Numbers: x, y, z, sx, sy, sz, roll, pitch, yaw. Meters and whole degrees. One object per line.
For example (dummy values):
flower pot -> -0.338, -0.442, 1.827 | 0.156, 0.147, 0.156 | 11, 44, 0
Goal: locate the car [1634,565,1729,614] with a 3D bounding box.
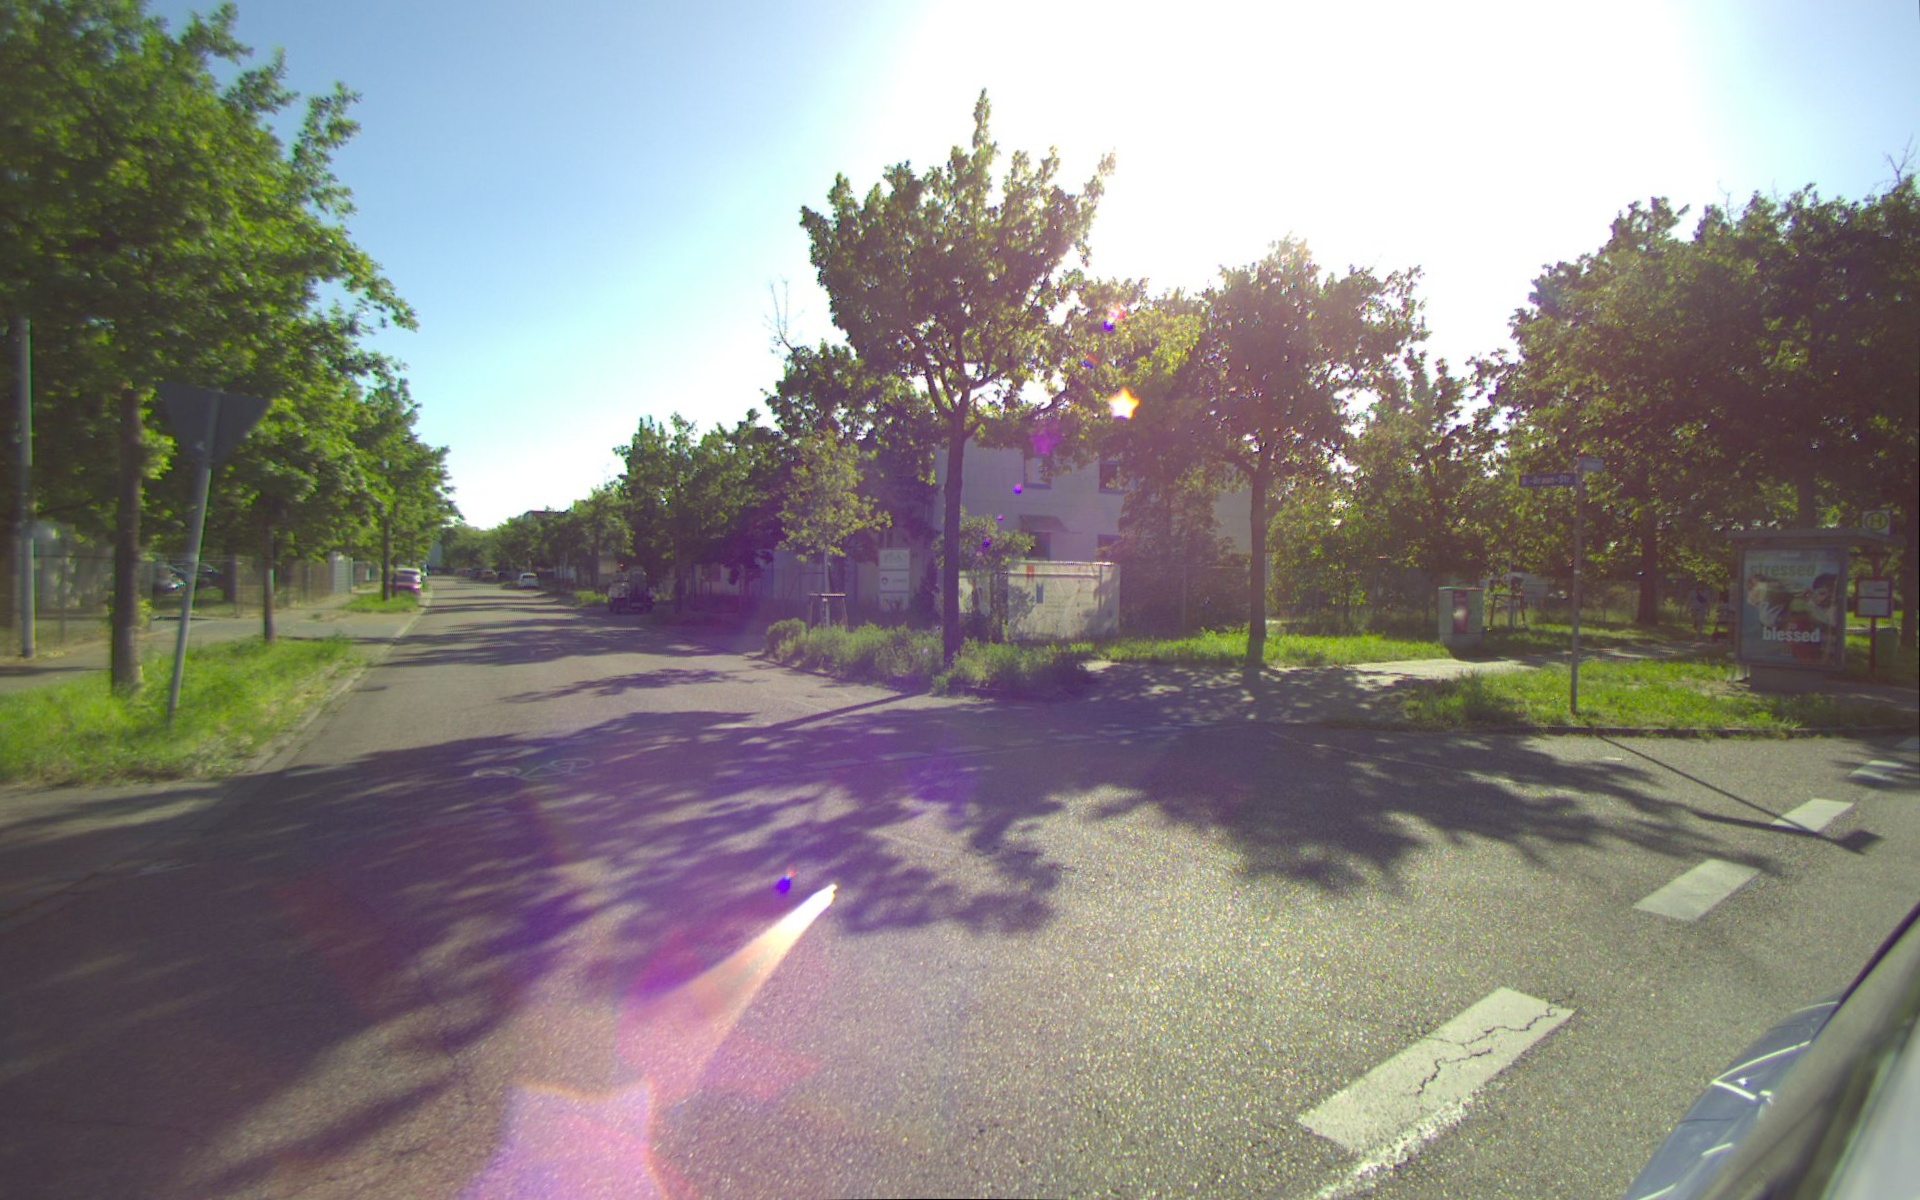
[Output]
car -> 42.793, -0.584, 59.972 | 5.848, 2.599, 2.094 | 3, -2, -27

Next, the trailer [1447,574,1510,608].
trailer -> 36.560, -0.626, 71.369 | 3.711, 2.336, 2.200 | 0, 1, -26

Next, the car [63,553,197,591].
car -> -39.997, -1.335, 48.907 | 4.637, 1.700, 2.004 | 0, 1, -24

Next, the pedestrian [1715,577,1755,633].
pedestrian -> 22.839, 0.134, 29.839 | 0.852, 1.623, 0.727 | 0, 1, -39

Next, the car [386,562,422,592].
car -> -36.122, -1.512, 65.678 | 1.960, 1.860, 5.465 | 0, 1, -30

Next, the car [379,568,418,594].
car -> -33.632, -1.148, 60.678 | 1.902, 1.498, 4.523 | 0, 1, -27

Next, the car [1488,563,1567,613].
car -> 31.792, -0.688, 56.654 | 4.763, 2.676, 2.166 | 0, 2, -39

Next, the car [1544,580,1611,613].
car -> 33.200, -0.203, 54.398 | 3.531, 1.685, 2.011 | 0, 2, -39

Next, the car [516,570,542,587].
car -> -40.487, -2.038, 94.944 | 1.902, 1.498, 4.523 | 0, 1, -27

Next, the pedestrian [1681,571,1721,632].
pedestrian -> 22.108, 0.022, 30.201 | 0.852, 1.777, 0.727 | 0, 1, -39

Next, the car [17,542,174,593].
car -> -36.054, -1.323, 42.370 | 4.638, 2.011, 2.003 | 0, 1, -27

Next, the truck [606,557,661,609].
truck -> -14.724, -0.809, 45.508 | 1.958, 2.138, 5.166 | -2, 2, -22

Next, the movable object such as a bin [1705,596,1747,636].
movable object such as a bin -> 22.178, 0.450, 29.309 | 0.852, 1.094, 0.728 | 0, 3, -39
